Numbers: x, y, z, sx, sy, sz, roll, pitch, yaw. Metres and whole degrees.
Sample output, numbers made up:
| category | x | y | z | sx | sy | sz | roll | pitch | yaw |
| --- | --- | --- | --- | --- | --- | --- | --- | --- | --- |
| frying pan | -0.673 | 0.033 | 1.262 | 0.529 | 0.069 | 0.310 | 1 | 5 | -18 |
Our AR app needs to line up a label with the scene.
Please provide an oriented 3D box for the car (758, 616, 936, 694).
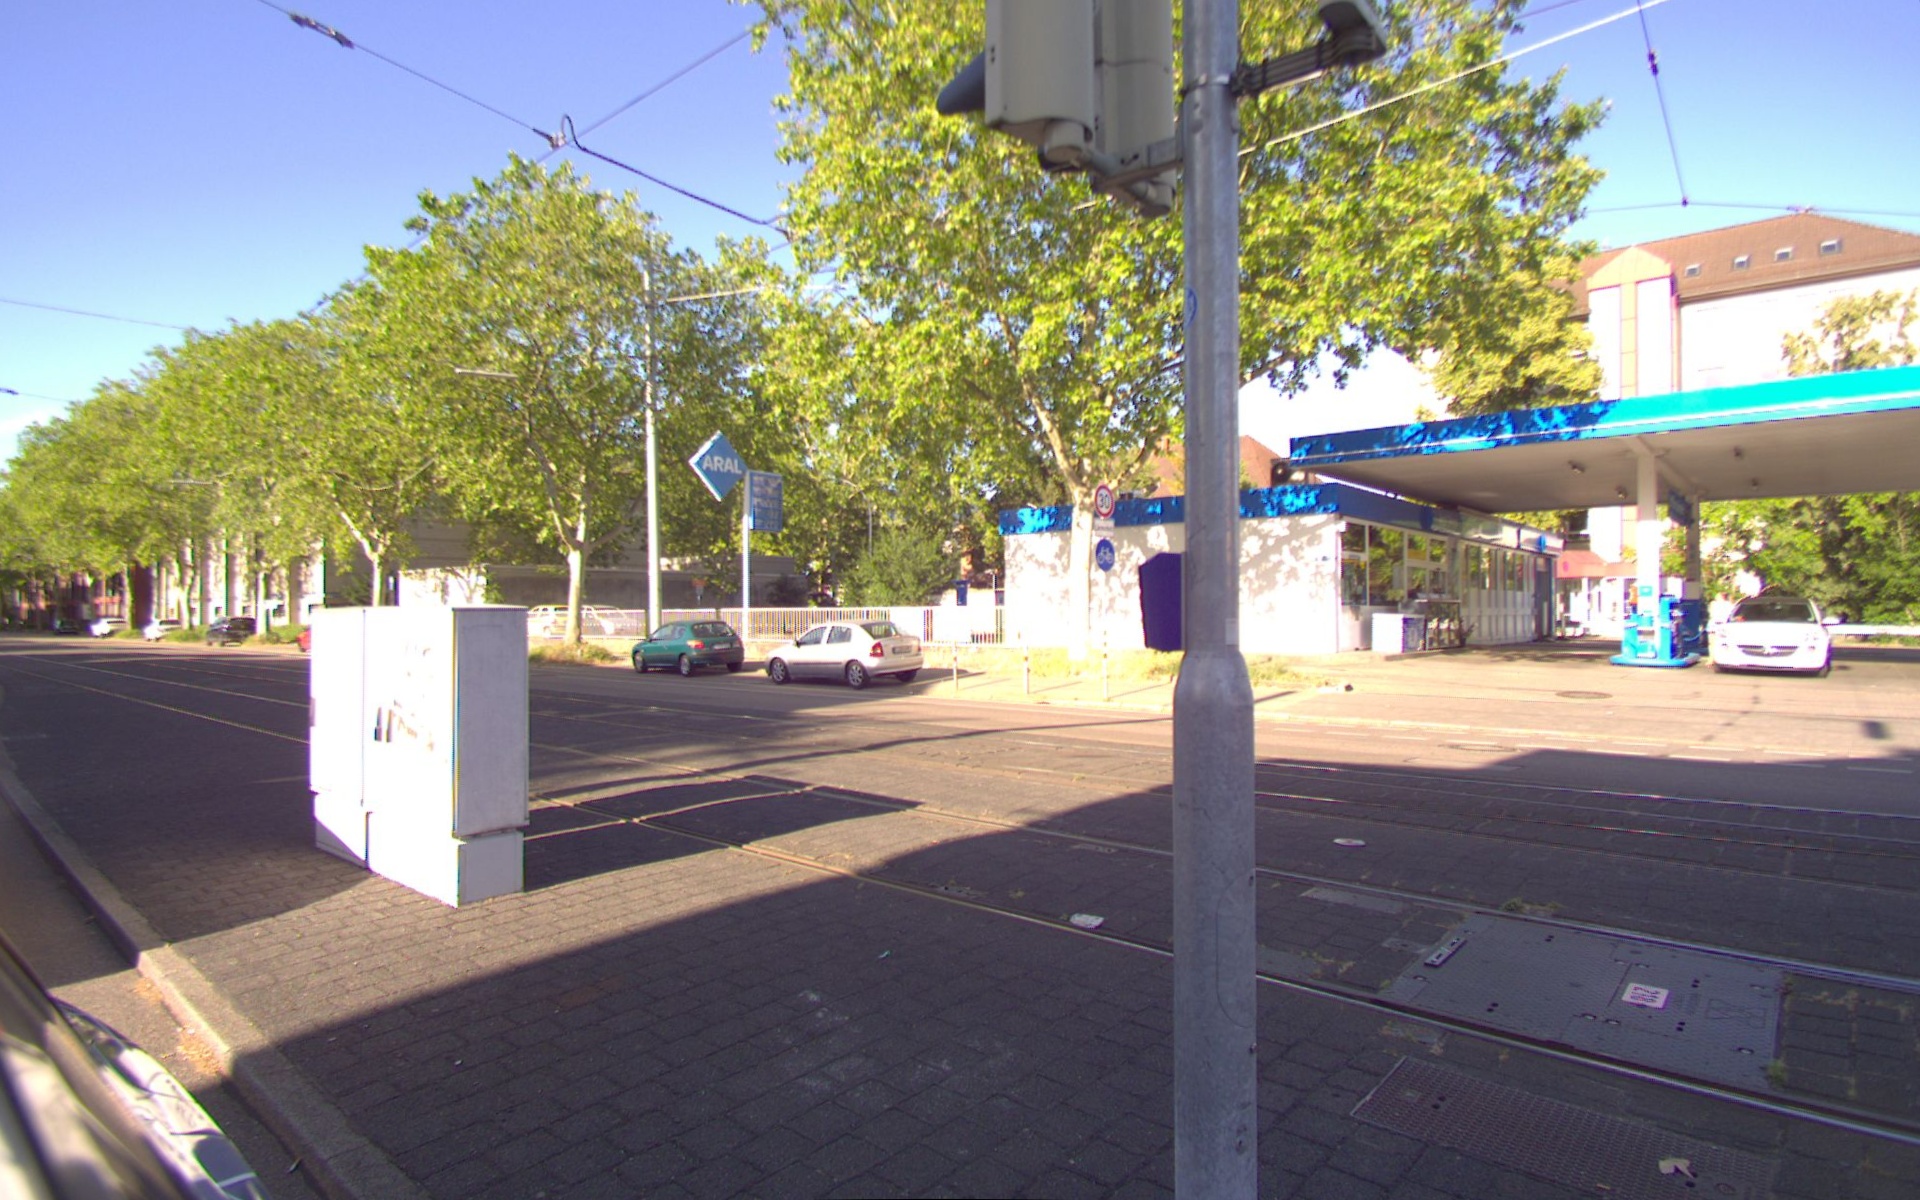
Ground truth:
| category | x | y | z | sx | sy | sz | roll | pitch | yaw |
| --- | --- | --- | --- | --- | --- | --- | --- | --- | --- |
| car | -2.576 | 1.166 | 22.595 | 3.857 | 1.497 | 1.823 | -1 | 1 | 42 |

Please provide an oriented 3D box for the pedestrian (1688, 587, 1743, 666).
| category | x | y | z | sx | sy | sz | roll | pitch | yaw |
| --- | --- | --- | --- | --- | --- | --- | --- | --- | --- |
| pedestrian | 16.114 | 0.553 | 21.597 | 0.637 | 1.642 | 0.814 | 1 | -2 | -42 |

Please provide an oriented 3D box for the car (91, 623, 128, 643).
| category | x | y | z | sx | sy | sz | roll | pitch | yaw |
| --- | --- | --- | --- | --- | --- | --- | --- | --- | --- |
| car | -66.930 | 2.578 | 79.639 | 3.858 | 1.495 | 1.735 | -1 | 0 | 43 |

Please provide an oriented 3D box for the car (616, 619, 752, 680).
| category | x | y | z | sx | sy | sz | roll | pitch | yaw |
| --- | --- | --- | --- | --- | --- | --- | --- | --- | --- |
| car | -7.436 | 1.273 | 27.075 | 3.858 | 1.408 | 1.722 | -1 | 1 | 43 |

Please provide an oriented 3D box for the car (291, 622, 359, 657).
| category | x | y | z | sx | sy | sz | roll | pitch | yaw |
| --- | --- | --- | --- | --- | --- | --- | --- | --- | --- |
| car | -28.915 | 1.772 | 46.044 | 3.858 | 1.440 | 1.695 | -1 | 0 | 43 |

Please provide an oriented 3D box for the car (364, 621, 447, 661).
| category | x | y | z | sx | sy | sz | roll | pitch | yaw |
| --- | --- | --- | --- | --- | --- | --- | --- | --- | --- |
| car | -21.988 | 1.586 | 40.090 | 3.858 | 1.468 | 1.735 | -1 | 0 | 43 |

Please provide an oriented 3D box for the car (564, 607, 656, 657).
| category | x | y | z | sx | sy | sz | roll | pitch | yaw |
| --- | --- | --- | --- | --- | --- | --- | --- | --- | --- |
| car | -15.149 | 1.362 | 43.689 | 3.996 | 2.029 | 1.974 | -1 | -1 | 39 |

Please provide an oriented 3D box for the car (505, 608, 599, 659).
| category | x | y | z | sx | sy | sz | roll | pitch | yaw |
| --- | --- | --- | --- | --- | --- | --- | --- | --- | --- |
| car | -17.048 | 1.392 | 42.261 | 3.996 | 2.029 | 1.974 | -1 | -1 | 39 |

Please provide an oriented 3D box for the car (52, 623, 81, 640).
| category | x | y | z | sx | sy | sz | roll | pitch | yaw |
| --- | --- | --- | --- | --- | --- | --- | --- | --- | --- |
| car | -84.877 | 3.010 | 96.113 | 3.858 | 1.495 | 1.735 | -1 | 0 | 43 |

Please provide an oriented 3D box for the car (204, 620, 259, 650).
| category | x | y | z | sx | sy | sz | roll | pitch | yaw |
| --- | --- | --- | --- | --- | --- | --- | --- | --- | --- |
| car | -40.679 | 1.954 | 56.484 | 3.858 | 1.557 | 1.735 | -1 | 0 | 43 |

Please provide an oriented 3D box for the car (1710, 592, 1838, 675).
| category | x | y | z | sx | sy | sz | roll | pitch | yaw |
| --- | --- | --- | --- | --- | --- | --- | --- | --- | --- |
| car | 15.938 | 0.612 | 19.782 | 1.793 | 1.453 | 3.946 | -1 | -1 | 40 |

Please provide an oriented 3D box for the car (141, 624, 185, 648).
| category | x | y | z | sx | sy | sz | roll | pitch | yaw |
| --- | --- | --- | --- | --- | --- | --- | --- | --- | --- |
| car | -53.642 | 2.397 | 68.119 | 3.858 | 1.495 | 1.735 | -1 | 0 | 43 |
